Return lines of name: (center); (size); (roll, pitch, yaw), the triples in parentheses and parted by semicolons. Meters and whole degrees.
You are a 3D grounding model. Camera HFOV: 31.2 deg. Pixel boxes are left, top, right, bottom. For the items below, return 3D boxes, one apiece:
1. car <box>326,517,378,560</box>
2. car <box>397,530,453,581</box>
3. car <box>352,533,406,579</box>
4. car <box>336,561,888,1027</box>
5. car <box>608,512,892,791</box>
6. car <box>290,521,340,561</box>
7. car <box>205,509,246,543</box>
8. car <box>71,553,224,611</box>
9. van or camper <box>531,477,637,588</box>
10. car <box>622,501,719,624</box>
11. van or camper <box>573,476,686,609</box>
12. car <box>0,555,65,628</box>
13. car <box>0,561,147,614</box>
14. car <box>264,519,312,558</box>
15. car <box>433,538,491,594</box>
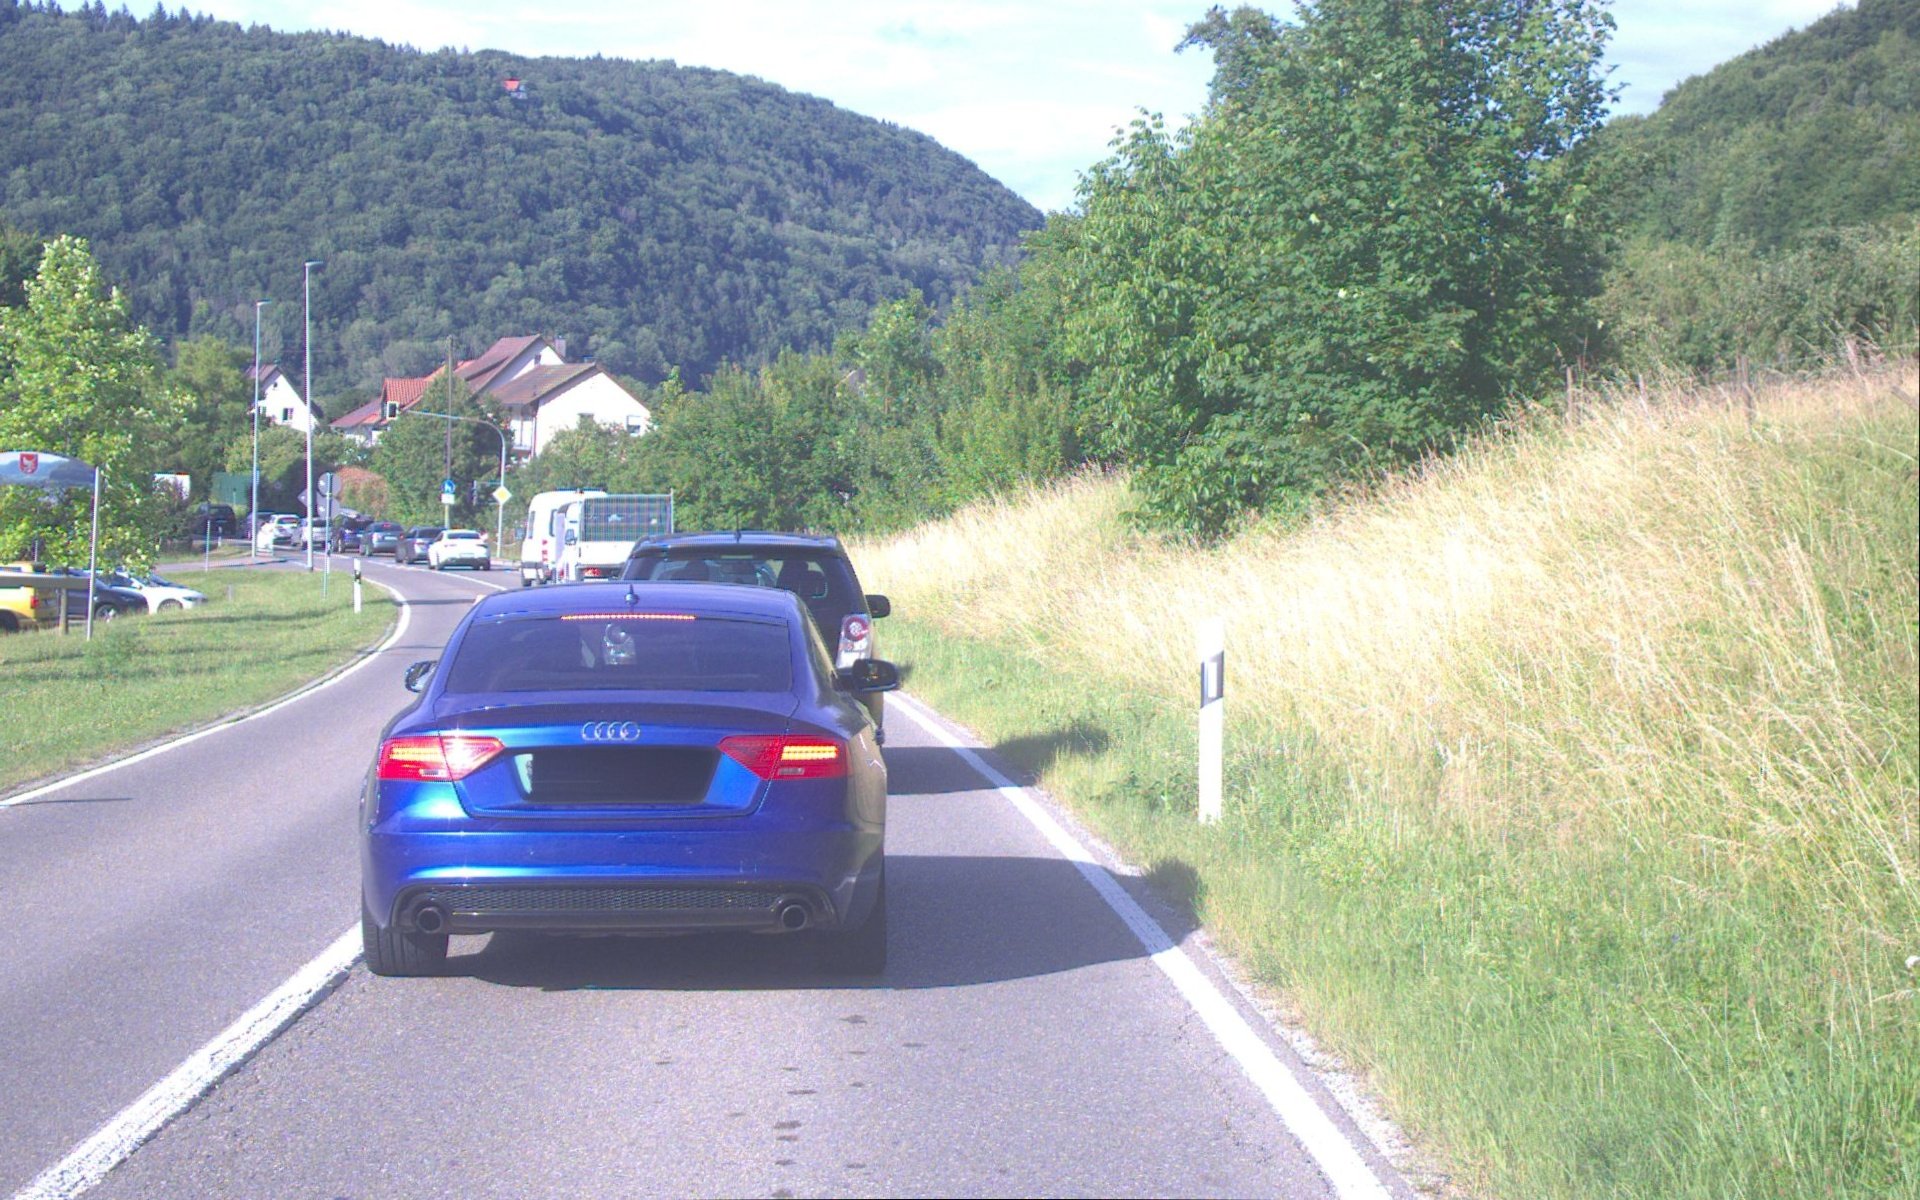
car: (-27.565, -2.782, 155.788); (1.676, 1.918, 4.001); (-1, 1, -19)
car: (-20.688, -1.715, 132.836); (1.659, 1.918, 4.001); (-1, 1, -15)
car: (-24.795, -1.884, 146.684); (1.659, 1.918, 4.001); (-1, 1, -18)
car: (-1.236, 0.599, 12.773); (1.742, 1.445, 3.517); (-1, 1, -4)
car: (-1.336, 0.280, 22.134); (1.645, 1.619, 3.517); (1, 1, -3)
car: (-31.337, -2.850, 166.996); (1.676, 1.918, 4.001); (-1, 1, -20)
car: (-41.520, -4.171, 194.397); (1.676, 1.918, 4.001); (-1, 1, -20)
car: (-23.809, -0.545, 100.756); (4.036, 1.655, 1.655); (0, 1, 5)
van or camper: (-9.608, -1.690, 87.469); (2.280, 2.704, 5.769); (-1, 1, -10)
car: (-4.941, -0.658, 58.494); (1.567, 2.007, 4.001); (-1, 1, -5)
van or camper: (-6.621, -1.132, 68.351); (2.051, 2.497, 5.813); (-1, 1, -7)
car: (-24.981, -0.208, 86.226); (4.554, 1.808, 1.841); (0, 1, 5)
car: (-24.840, -0.347, 96.302); (3.713, 1.434, 1.509); (0, 1, 5)
car: (-34.453, -3.142, 176.197); (1.676, 1.918, 4.001); (-1, 1, -22)
car: (-17.558, -1.186, 121.087); (1.659, 1.918, 4.001); (-1, 1, -13)
